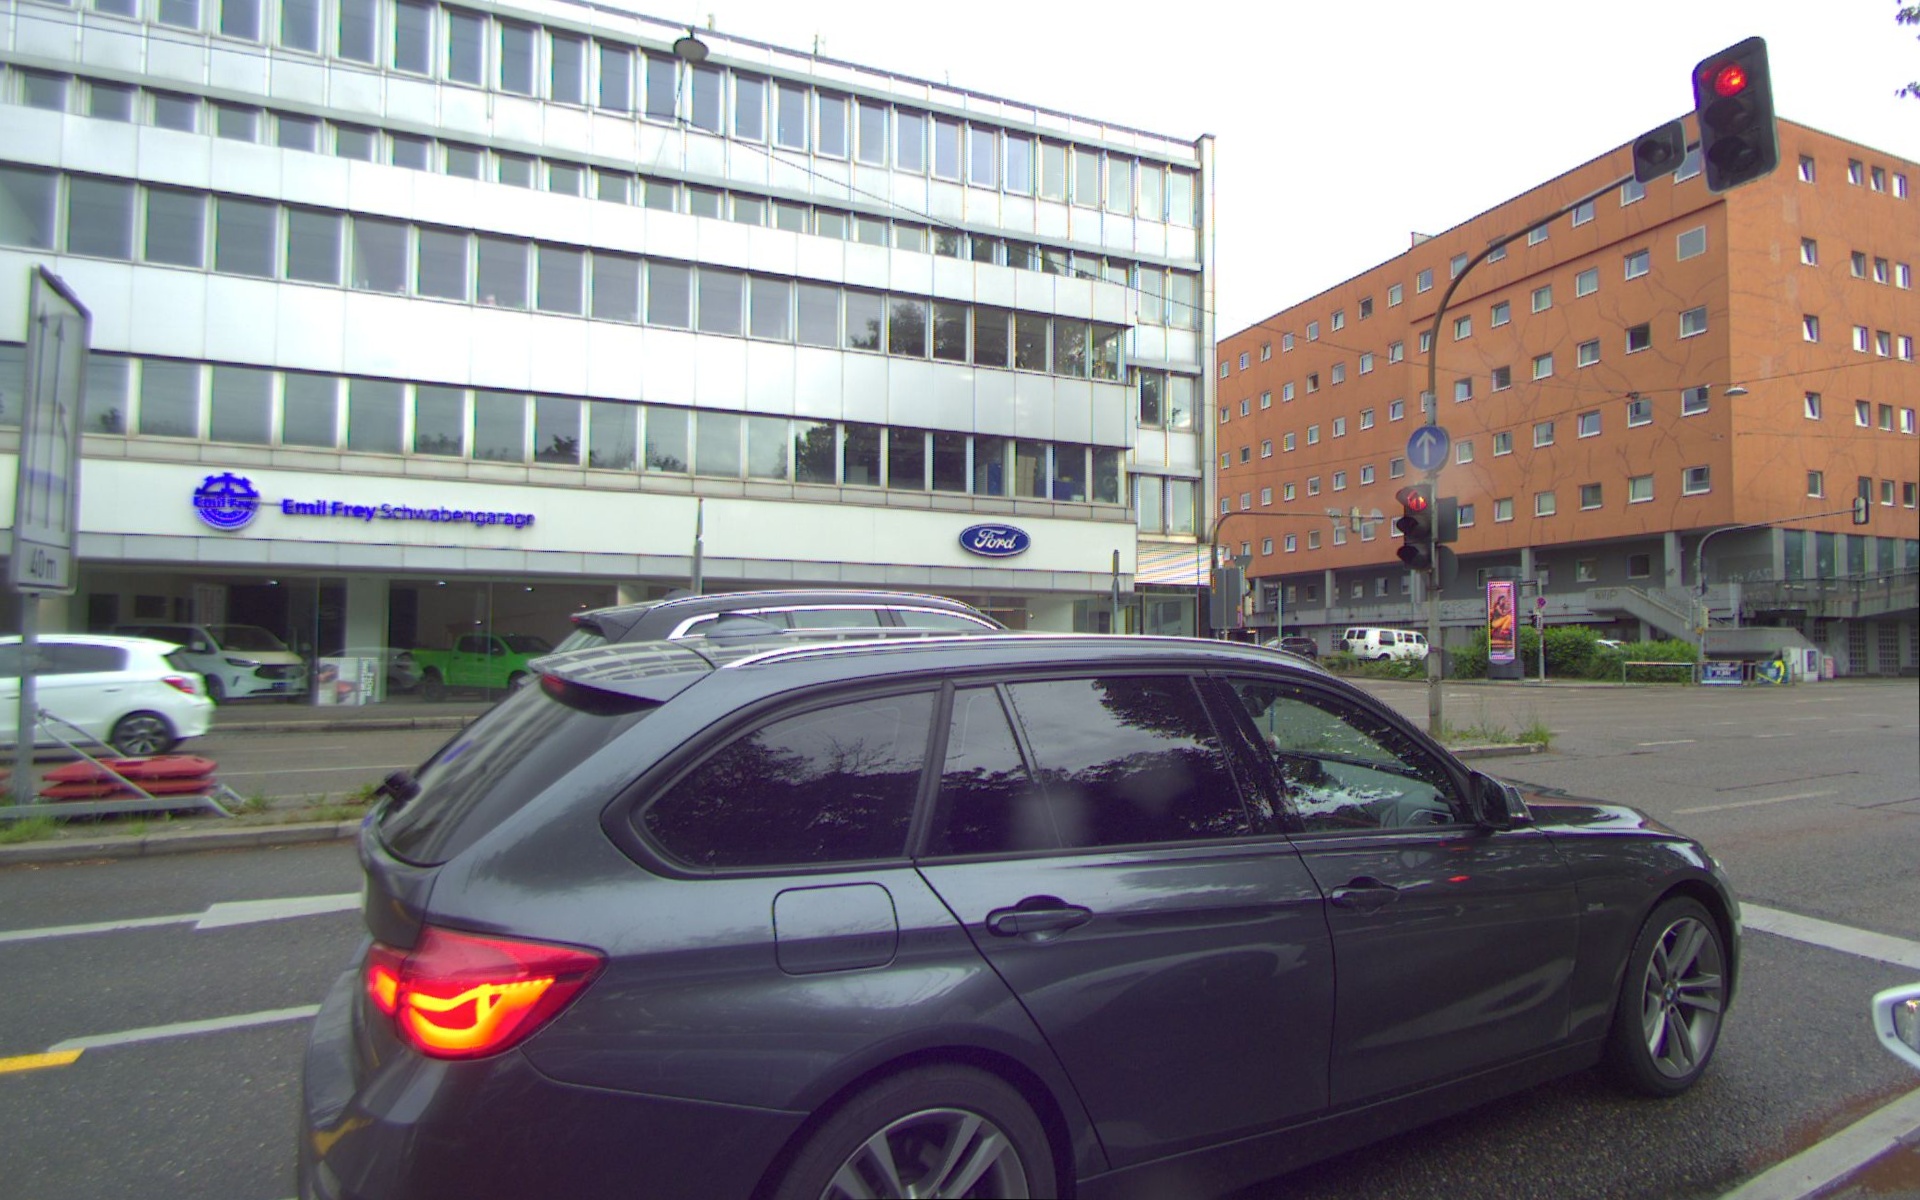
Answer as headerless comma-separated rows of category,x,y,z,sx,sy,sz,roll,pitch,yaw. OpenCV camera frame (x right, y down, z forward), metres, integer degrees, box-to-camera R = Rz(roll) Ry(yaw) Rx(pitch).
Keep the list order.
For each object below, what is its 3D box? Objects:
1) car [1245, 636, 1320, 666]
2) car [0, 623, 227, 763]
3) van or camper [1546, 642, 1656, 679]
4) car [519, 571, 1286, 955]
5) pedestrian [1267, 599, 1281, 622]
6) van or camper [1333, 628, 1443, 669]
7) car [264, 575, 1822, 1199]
car,18.972,2.999,59.017,4.027,1.633,1.706,2,0,-23
car,-11.138,1.115,11.971,3.723,1.551,1.792,1,-6,-33
van or camper,29.859,2.789,46.945,1.887,1.648,3.978,1,-2,-23
car,-0.268,0.767,6.227,4.389,1.678,1.802,2,0,-28
pedestrian,26.070,0.871,83.354,0.714,1.864,0.761,2,0,-21
van or camper,22.306,2.521,52.359,5.376,2.004,2.121,2,0,-23
car,0.614,0.797,3.150,4.424,1.477,1.769,2,-3,-30
